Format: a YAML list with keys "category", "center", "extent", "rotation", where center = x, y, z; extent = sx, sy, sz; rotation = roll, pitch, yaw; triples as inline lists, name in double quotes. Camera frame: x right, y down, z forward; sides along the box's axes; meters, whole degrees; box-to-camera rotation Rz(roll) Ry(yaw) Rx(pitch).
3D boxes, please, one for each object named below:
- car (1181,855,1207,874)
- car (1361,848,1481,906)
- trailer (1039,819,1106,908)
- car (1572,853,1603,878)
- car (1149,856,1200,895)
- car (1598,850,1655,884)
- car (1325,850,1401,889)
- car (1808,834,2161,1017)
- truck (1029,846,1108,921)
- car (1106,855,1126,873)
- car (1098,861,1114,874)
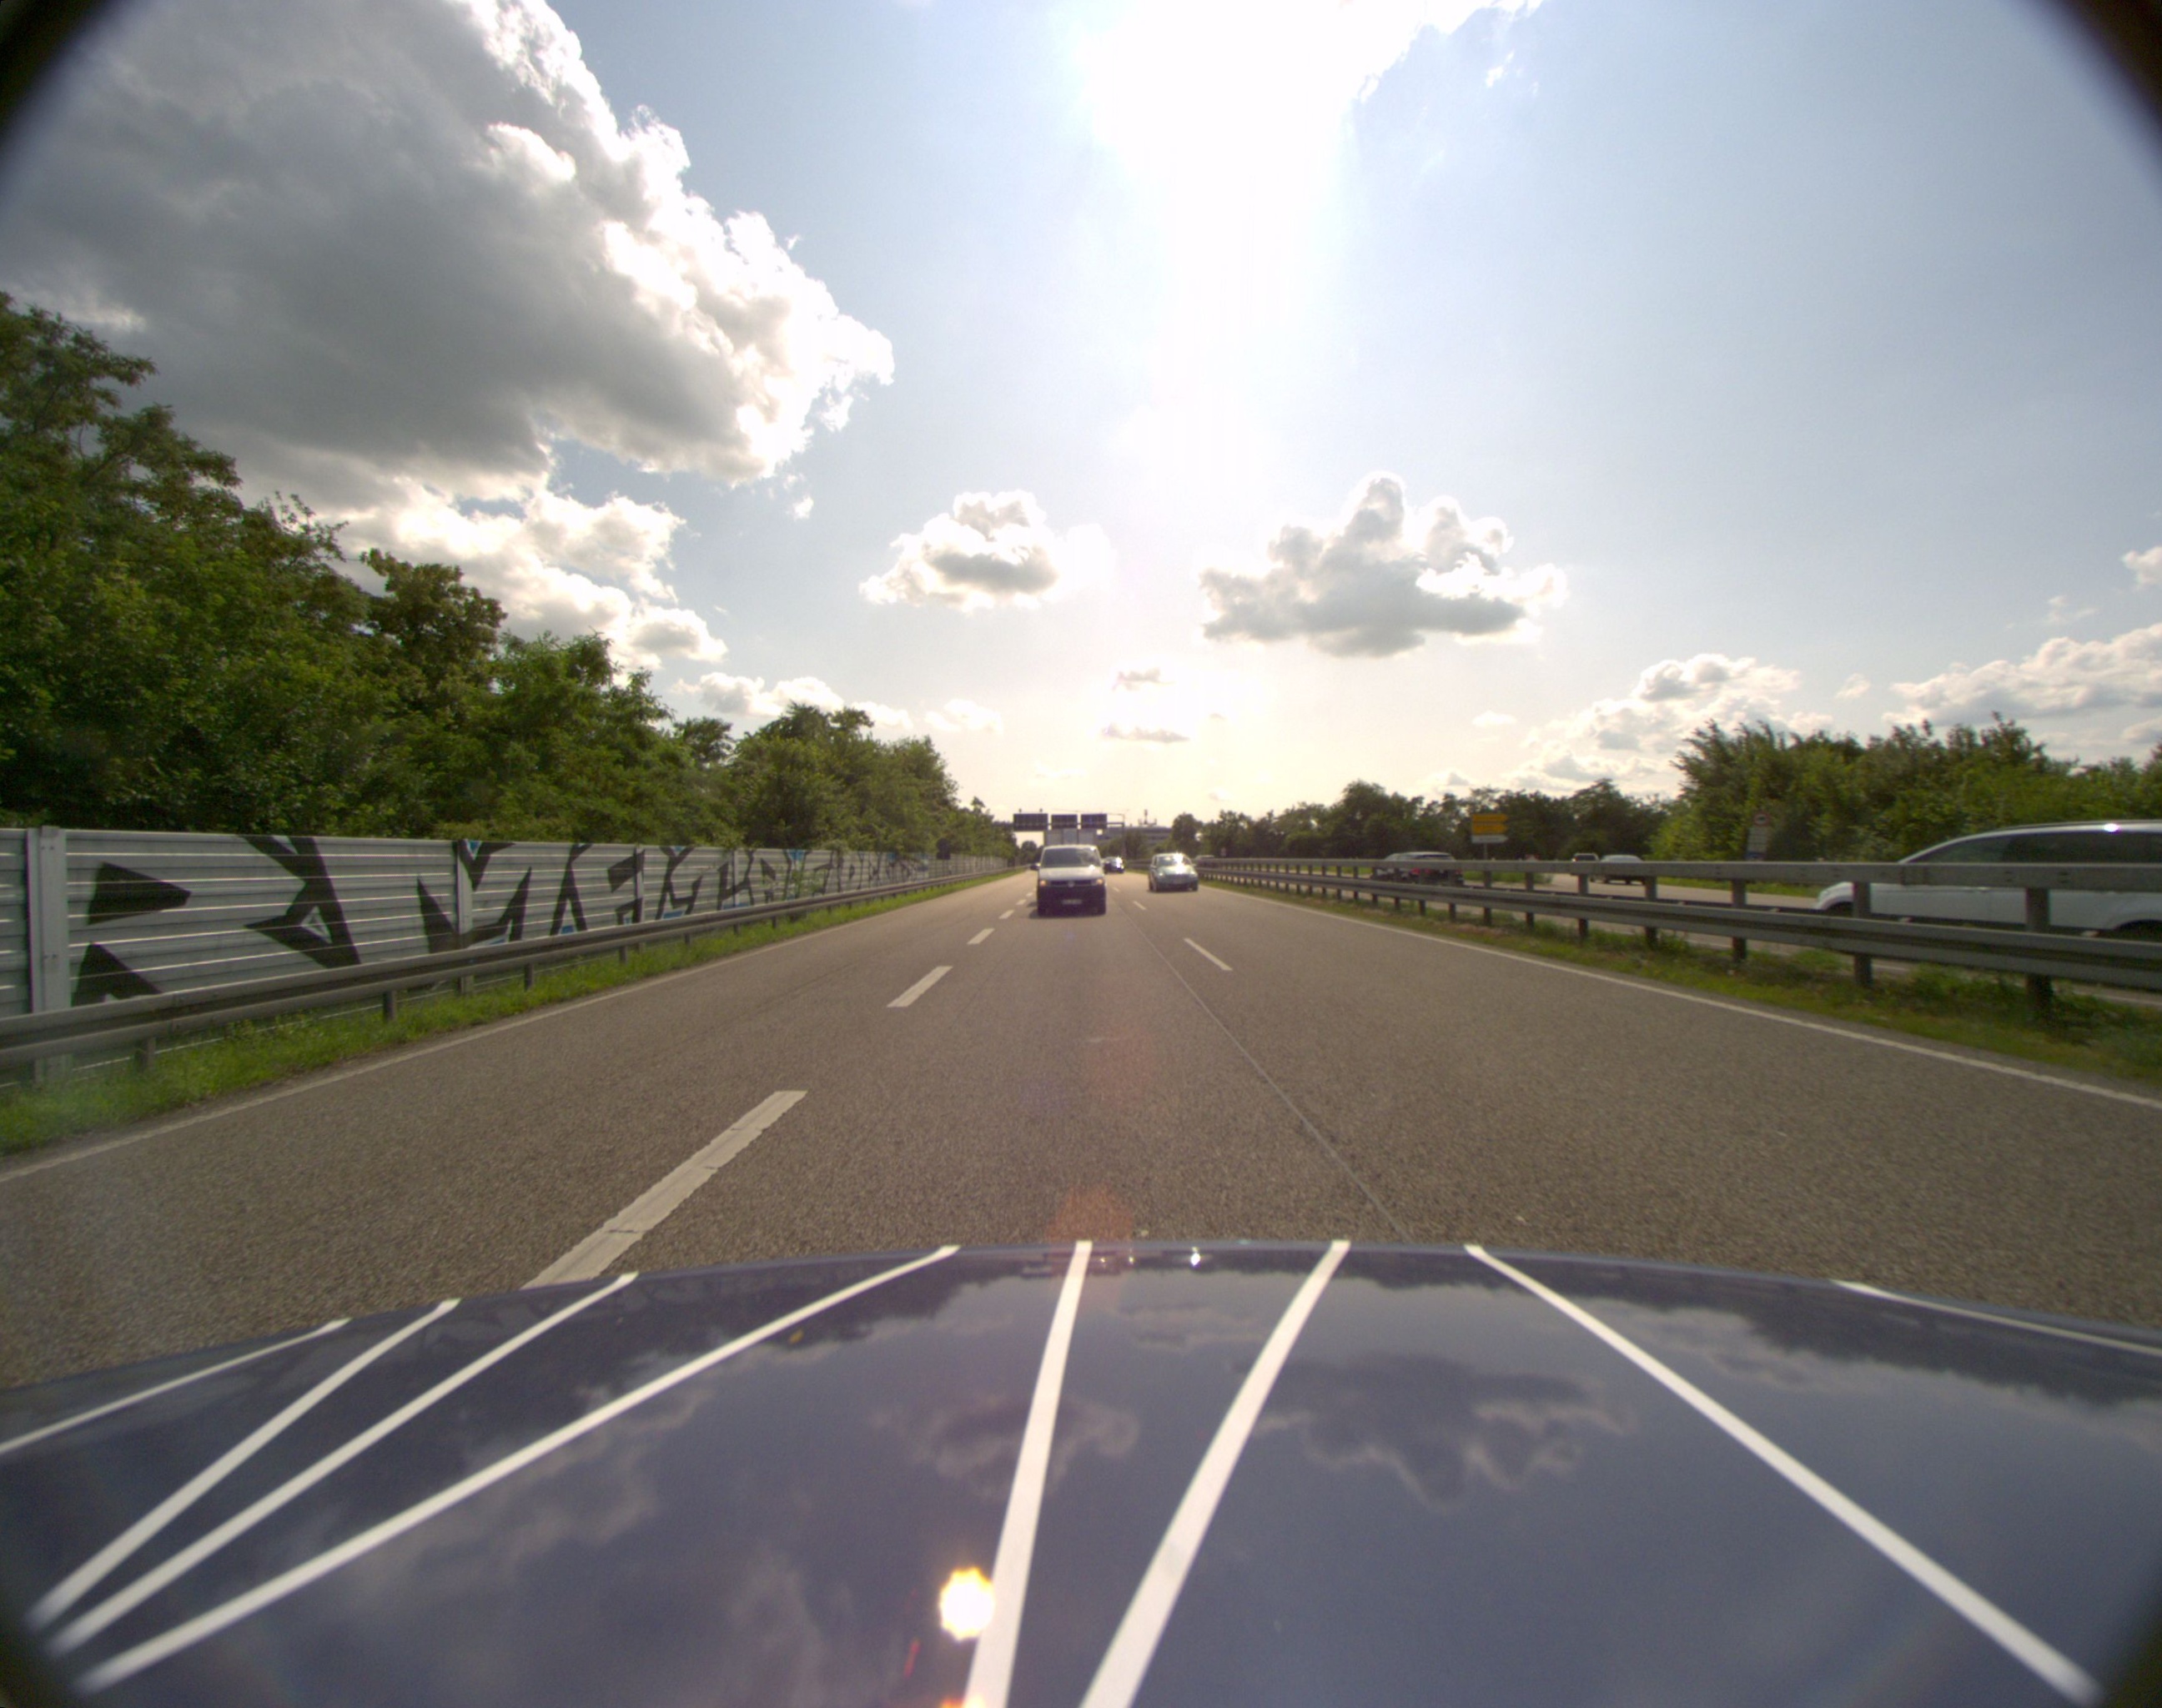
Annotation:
- category: "car"
  center: [10.932, 0.965, 73.782]
  extent: [1.966, 1.636, 4.550]
  rotation: [-2, 1, 1]
- category: "car"
  center: [11.051, 0.671, 25.091]
  extent: [1.966, 1.636, 4.550]
  rotation: [-2, 1, 1]
- category: "trailer"
  center: [-0.223, 0.264, 26.761]
  extent: [1.998, 2.723, 5.966]
  rotation: [-2, 1, 1]
- category: "car"
  center: [36.069, 0.800, 54.122]
  extent: [1.725, 1.517, 4.007]
  rotation: [-2, 1, 35]
- category: "car"
  center: [3.956, 0.861, 32.612]
  extent: [1.752, 1.522, 4.000]
  rotation: [-1, 0, 1]
- category: "car"
  center: [27.093, 0.610, 37.834]
  extent: [1.725, 1.517, 4.006]
  rotation: [-2, 1, 28]
- category: "car"
  center: [13.289, 0.657, 36.080]
  extent: [1.966, 1.636, 4.550]
  rotation: [-2, 1, 1]
- category: "car"
  center: [10.744, 0.636, 8.178]
  extent: [1.692, 1.636, 4.268]
  rotation: [-2, 1, -1]
- category: "truck"
  center: [-0.279, 0.761, 21.725]
  extent: [2.008, 1.905, 4.000]
  rotation: [-1, 0, 1]
- category: "car"
  center: [3.233, 0.952, 71.510]
  extent: [1.716, 1.518, 4.592]
  rotation: [-2, 1, 1]
- category: "car"
  center: [2.829, 1.543, 87.837]
  extent: [1.625, 1.403, 3.770]
  rotation: [-2, 1, -1]
